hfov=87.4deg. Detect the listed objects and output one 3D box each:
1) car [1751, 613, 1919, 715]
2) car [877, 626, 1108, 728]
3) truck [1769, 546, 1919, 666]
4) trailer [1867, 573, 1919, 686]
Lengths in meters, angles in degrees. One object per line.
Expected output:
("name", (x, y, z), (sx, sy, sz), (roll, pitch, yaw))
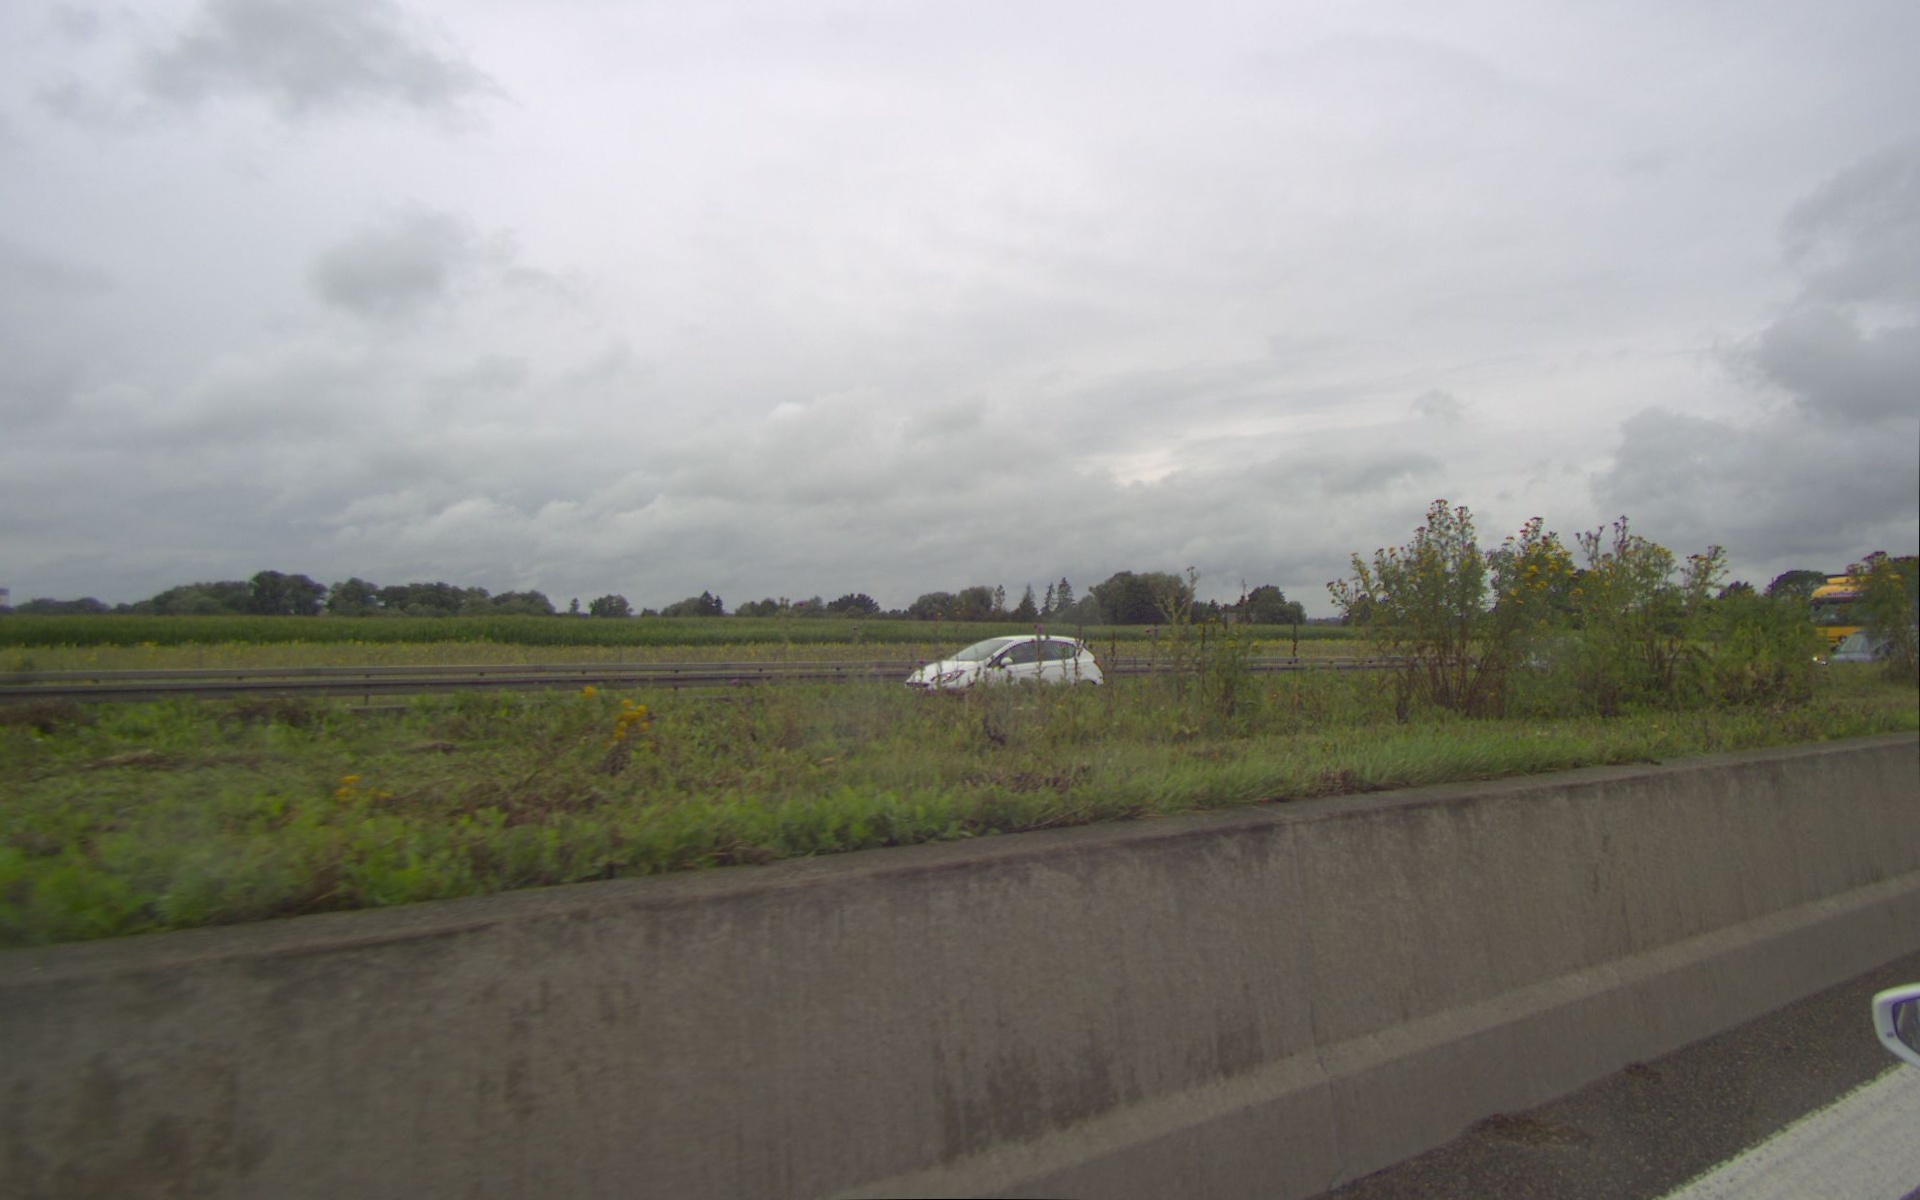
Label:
("car", (18.251, 1.255, 20.512), (3.953, 1.840, 1.984), (2, 0, -30))
("car", (0.636, 1.408, 19.200), (3.953, 1.706, 1.984), (2, 0, -30))
("truck", (37.625, 0.354, 41.010), (10.861, 4.422, 3.396), (2, 0, -30))
("trailer", (45.928, 1.358, 45.943), (11.547, 4.832, 3.370), (1, 0, -31))
